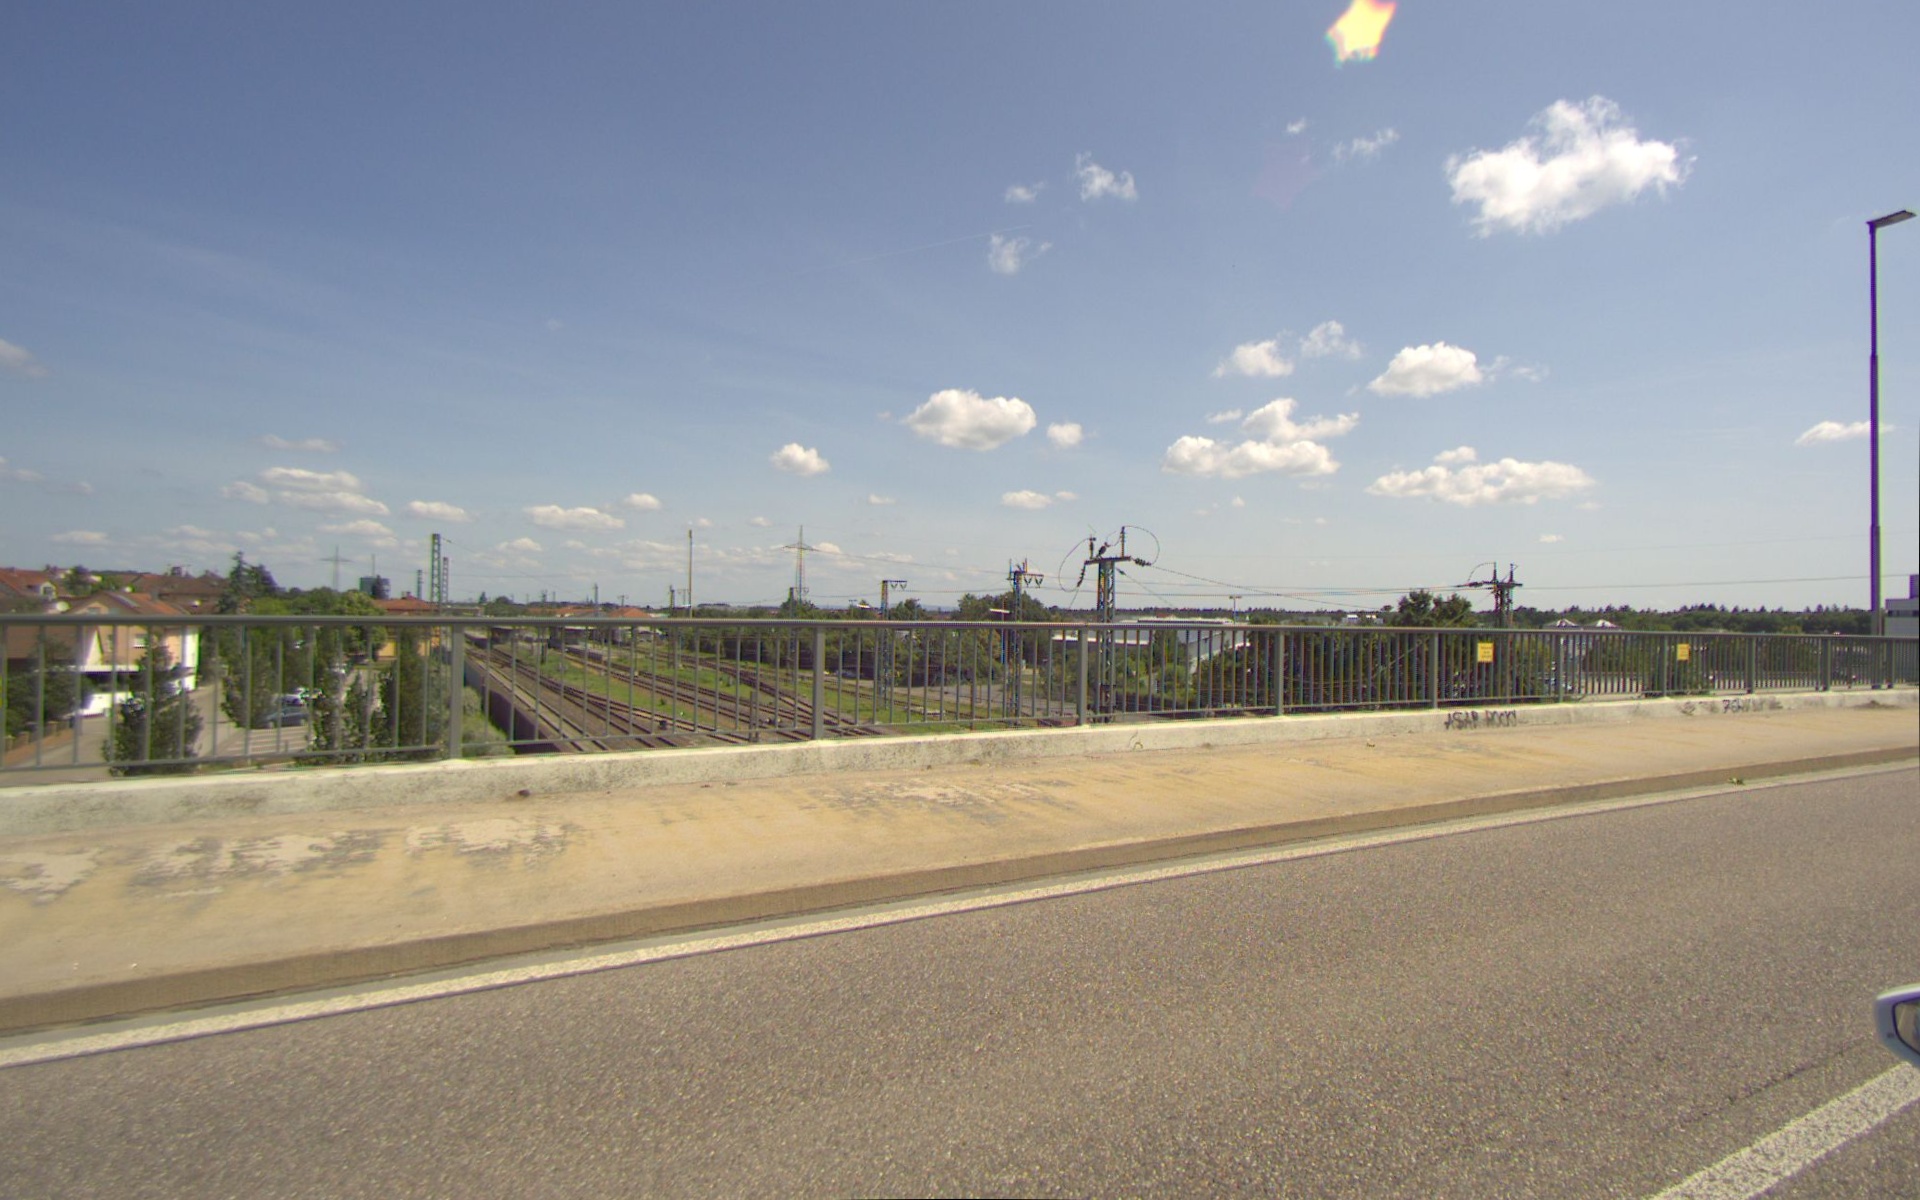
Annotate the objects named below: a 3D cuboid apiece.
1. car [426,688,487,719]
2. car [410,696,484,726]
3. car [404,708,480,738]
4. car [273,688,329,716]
[{"bbox_3d":[-40.891,8.421,81.668,3.928,2.041,1.996,3,4,-10],"label":"car"},{"bbox_3d":[-40.278,8.713,79.029,4.770,2.041,1.994,2,2,-13],"label":"car"},{"bbox_3d":[-39.153,9.299,76.043,4.530,1.623,2.207,4,4,-5],"label":"car"},{"bbox_3d":[-59.174,9.152,90.250,1.959,2.040,4.002,1,0,10],"label":"car"}]
